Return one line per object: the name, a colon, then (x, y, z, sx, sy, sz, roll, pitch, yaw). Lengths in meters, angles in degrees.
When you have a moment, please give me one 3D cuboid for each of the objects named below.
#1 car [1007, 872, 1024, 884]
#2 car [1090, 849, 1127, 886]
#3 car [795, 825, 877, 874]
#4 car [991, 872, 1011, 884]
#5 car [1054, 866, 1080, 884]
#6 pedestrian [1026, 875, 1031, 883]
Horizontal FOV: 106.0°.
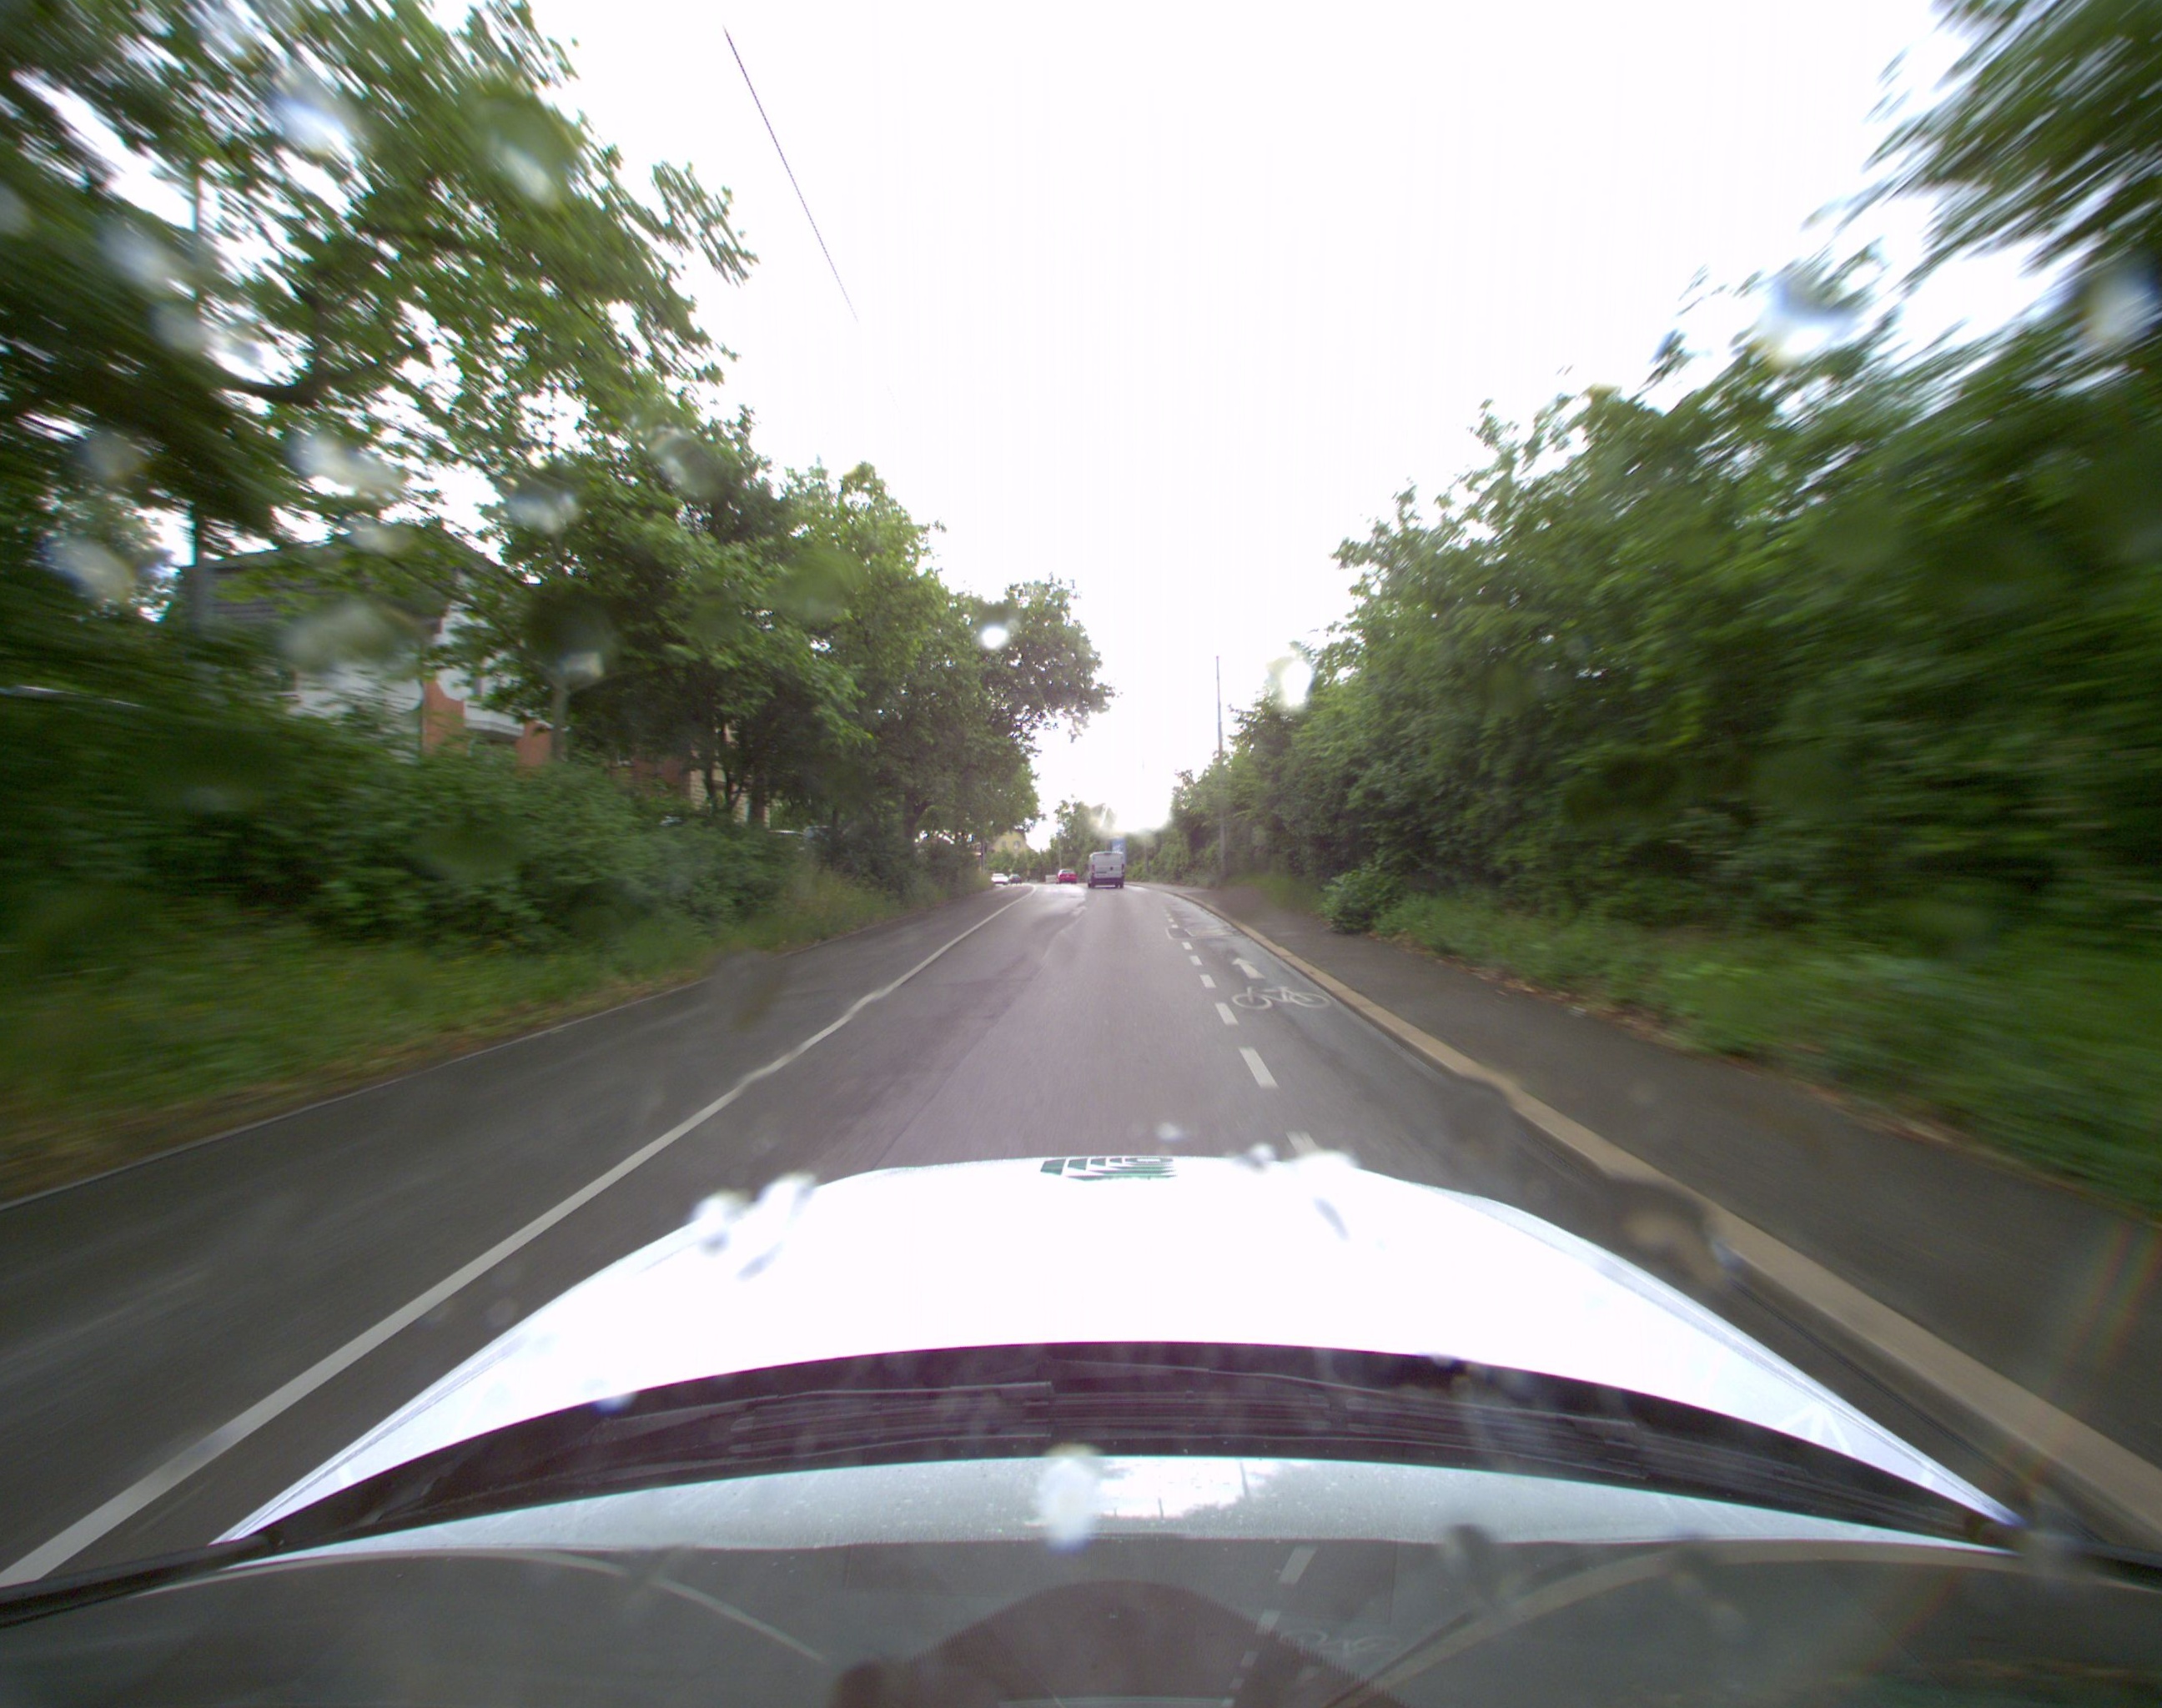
car: (-9.895, 3.634, 123.184, 2.237, 1.804, 4.699, 0, 0, -9)
car: (1.698, 0.836, 51.937, 2.230, 2.213, 4.712, 0, 0, 0)
car: (-10.622, -0.162, 35.706, 1.985, 2.014, 4.631, 0, 0, 3)
car: (-9.672, 2.838, 98.568, 2.071, 1.353, 4.697, 0, 0, -10)
car: (-1.398, 2.050, 79.218, 2.233, 1.657, 4.705, 0, 0, -5)
pedestrian: (-9.172, 4.419, 142.369, 0.879, 1.367, 1.061, 0, -1, -11)
